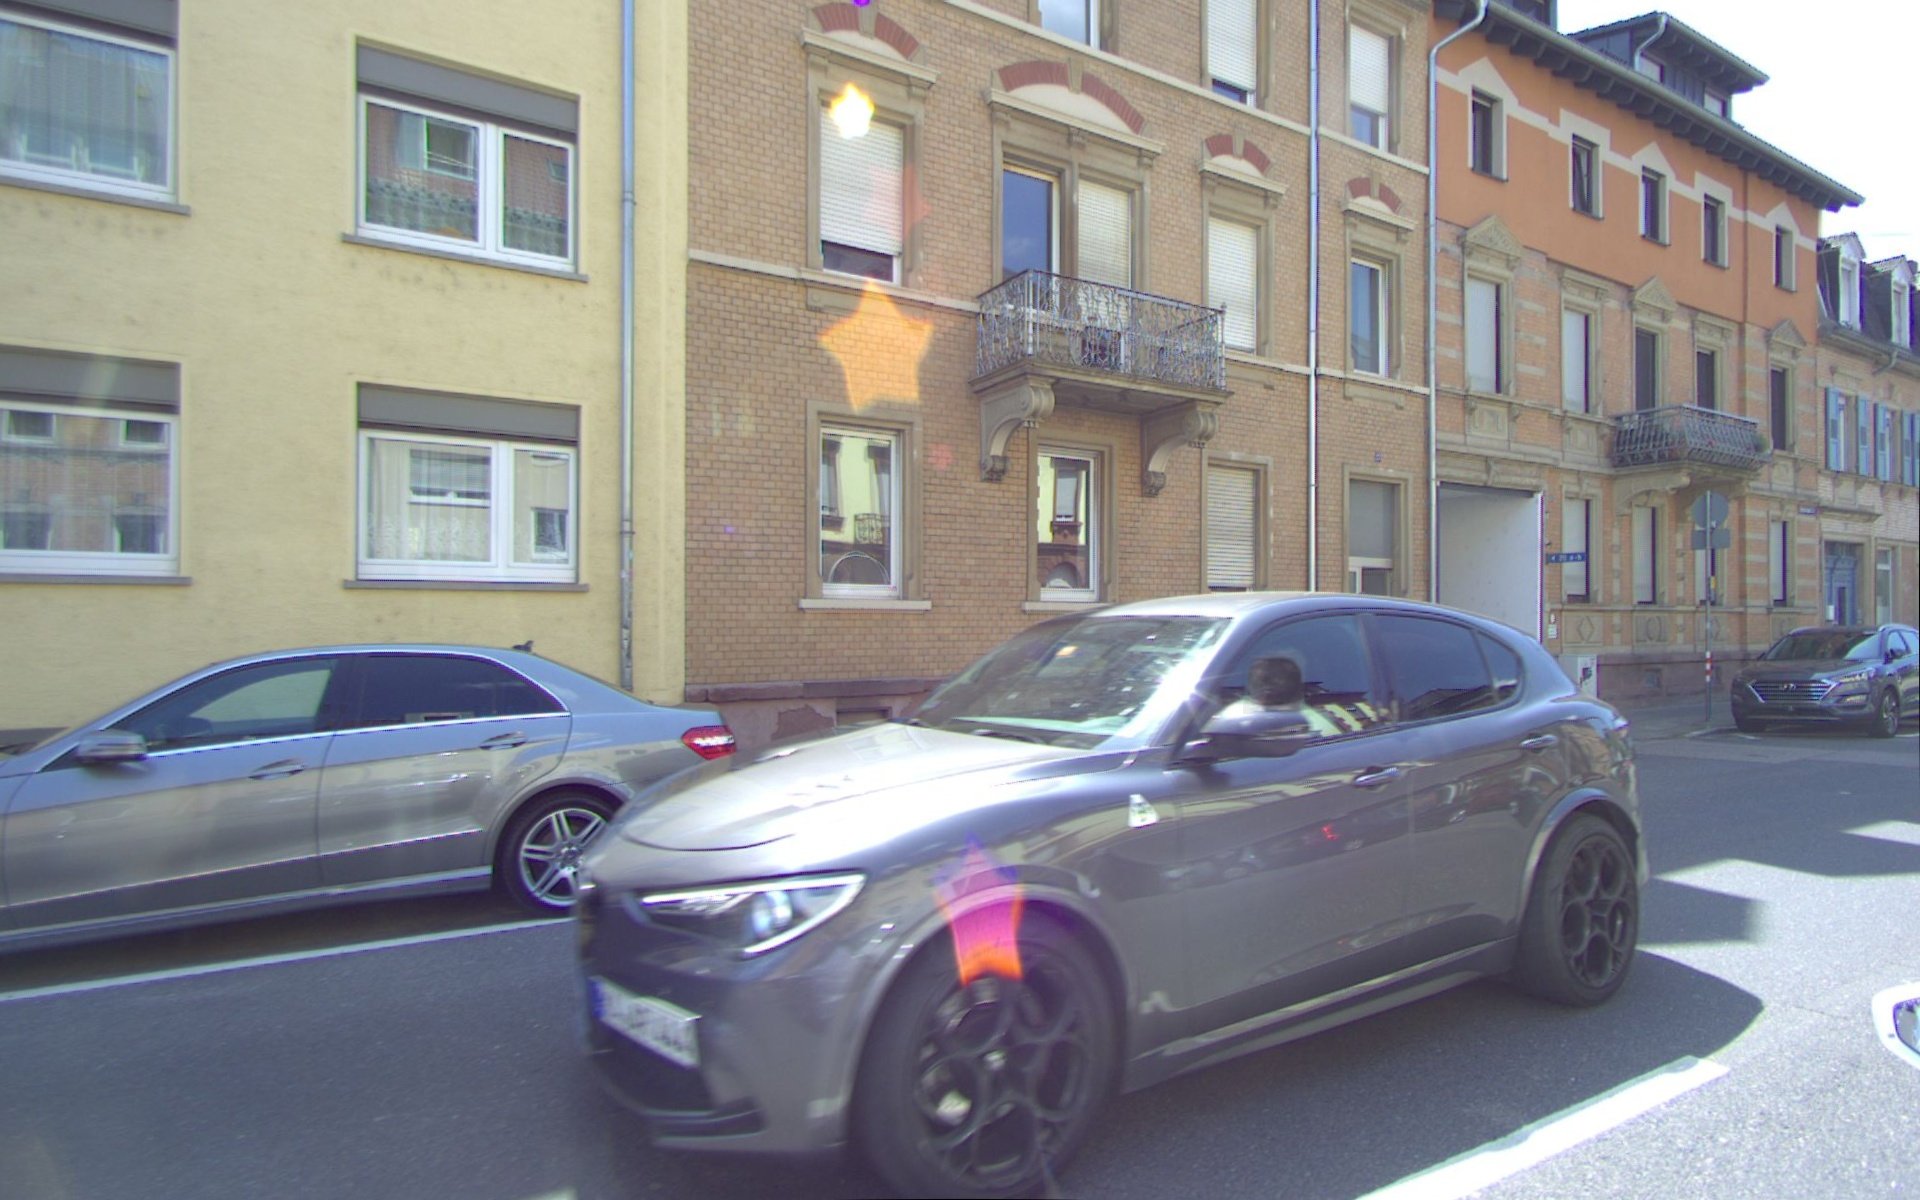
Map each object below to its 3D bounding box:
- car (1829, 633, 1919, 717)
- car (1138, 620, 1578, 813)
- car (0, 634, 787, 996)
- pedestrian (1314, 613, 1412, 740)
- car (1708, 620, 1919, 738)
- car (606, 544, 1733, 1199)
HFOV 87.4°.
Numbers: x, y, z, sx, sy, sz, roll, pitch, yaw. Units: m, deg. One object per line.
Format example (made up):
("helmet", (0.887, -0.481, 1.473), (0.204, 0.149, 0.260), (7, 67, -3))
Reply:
("car", (18.216, 1.350, 18.653), (4.281, 1.444, 1.856), (1, -4, -31))
("car", (4.133, 1.058, 10.233), (4.450, 1.571, 1.856), (1, -4, -32))
("car", (-3.474, 0.966, 5.504), (4.631, 1.470, 1.896), (1, -4, -30))
("pedestrian", (5.156, 0.946, 12.872), (0.864, 1.555, 0.800), (1, -1, -25))
("car", (14.036, 1.205, 15.998), (4.450, 1.648, 1.856), (1, -4, -32))
("car", (1.025, 0.758, 4.100), (4.395, 1.632, 1.898), (1, -2, -31))
